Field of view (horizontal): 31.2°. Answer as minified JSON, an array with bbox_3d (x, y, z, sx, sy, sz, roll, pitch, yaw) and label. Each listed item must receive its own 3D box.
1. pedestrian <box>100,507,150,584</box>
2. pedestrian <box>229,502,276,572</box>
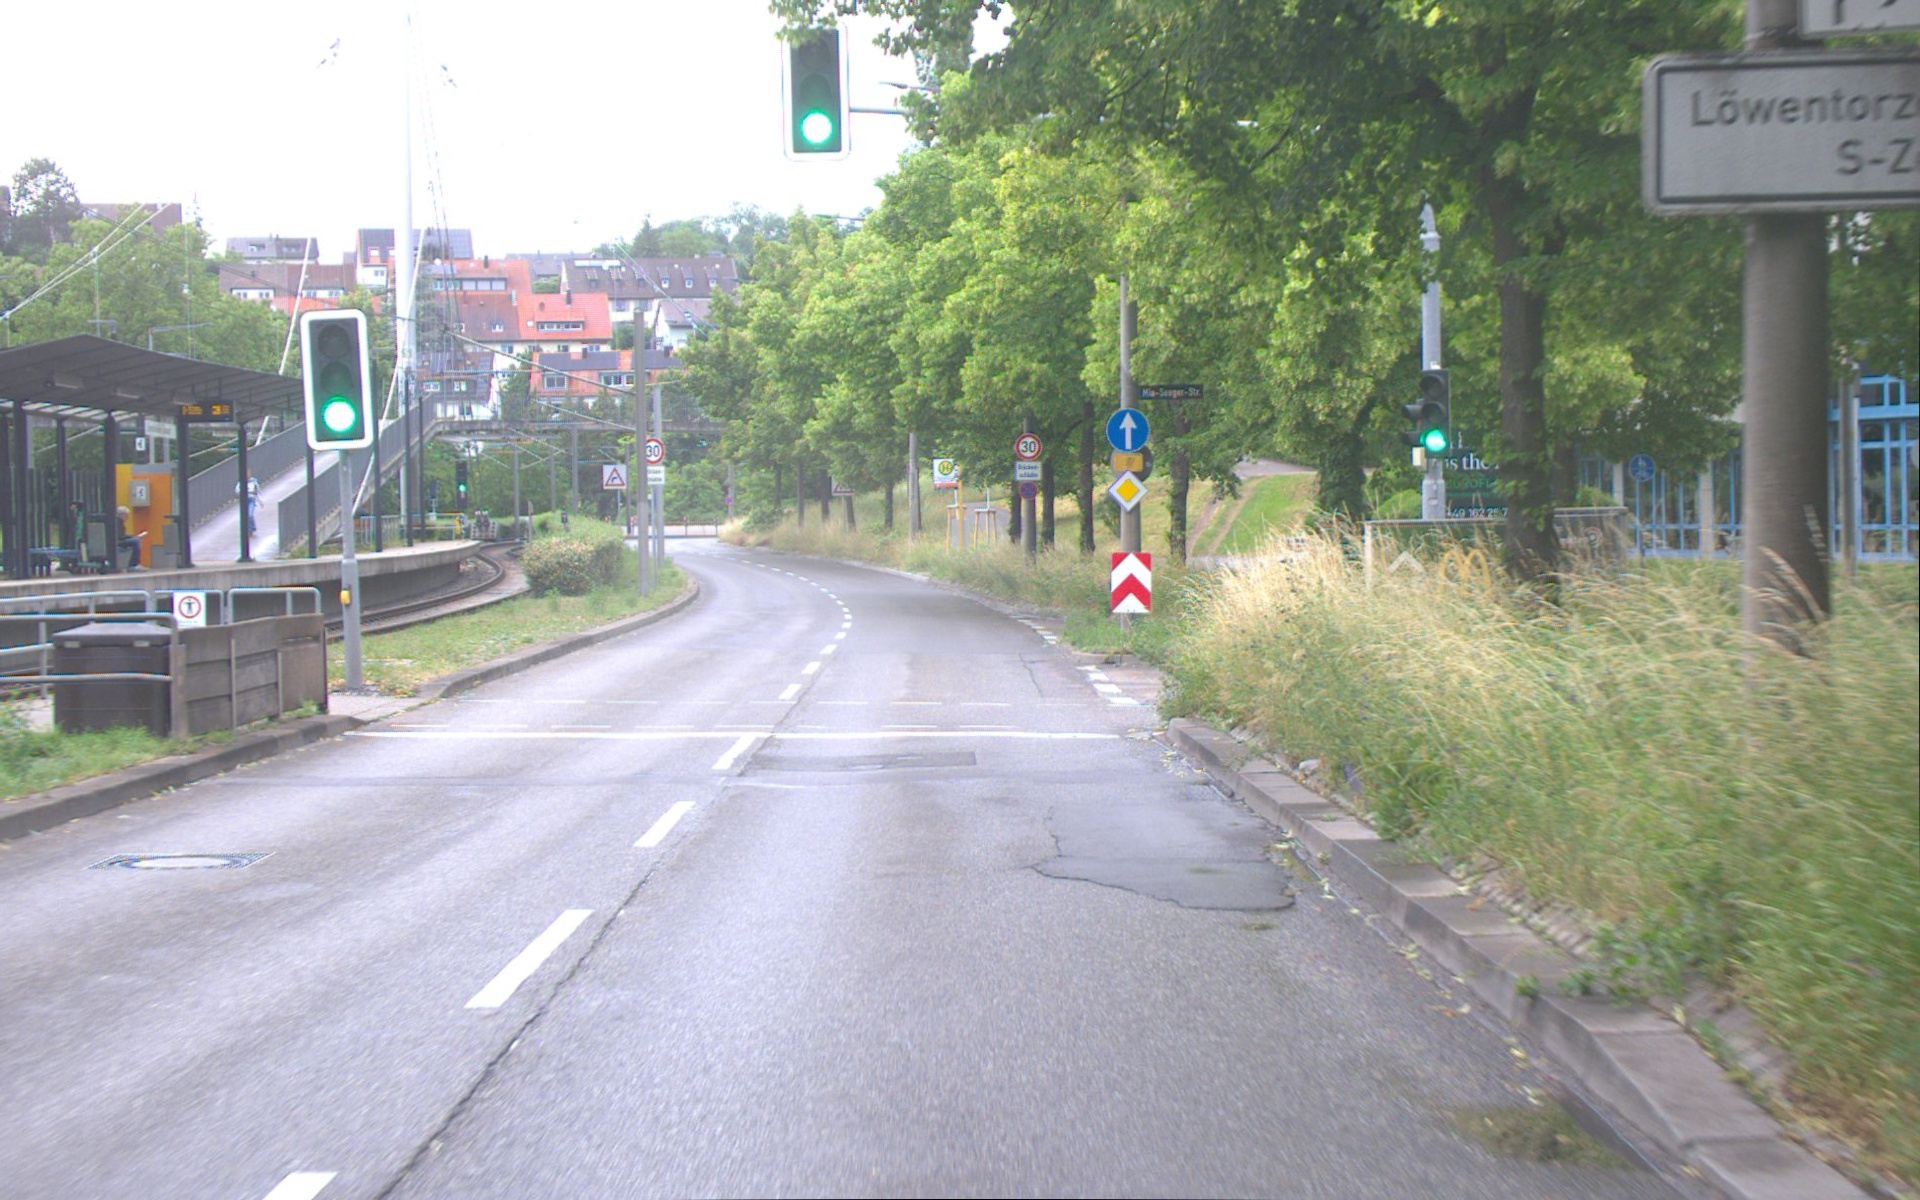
[{"bbox_3d":[-14.771,-0.965,60.796,0.752,1.351,0.692,0,1,-4],"label":"pedestrian"},{"bbox_3d":[-16.368,-1.447,79.519,0.935,1.605,1.027,0,1,-4],"label":"pedestrian"}]
